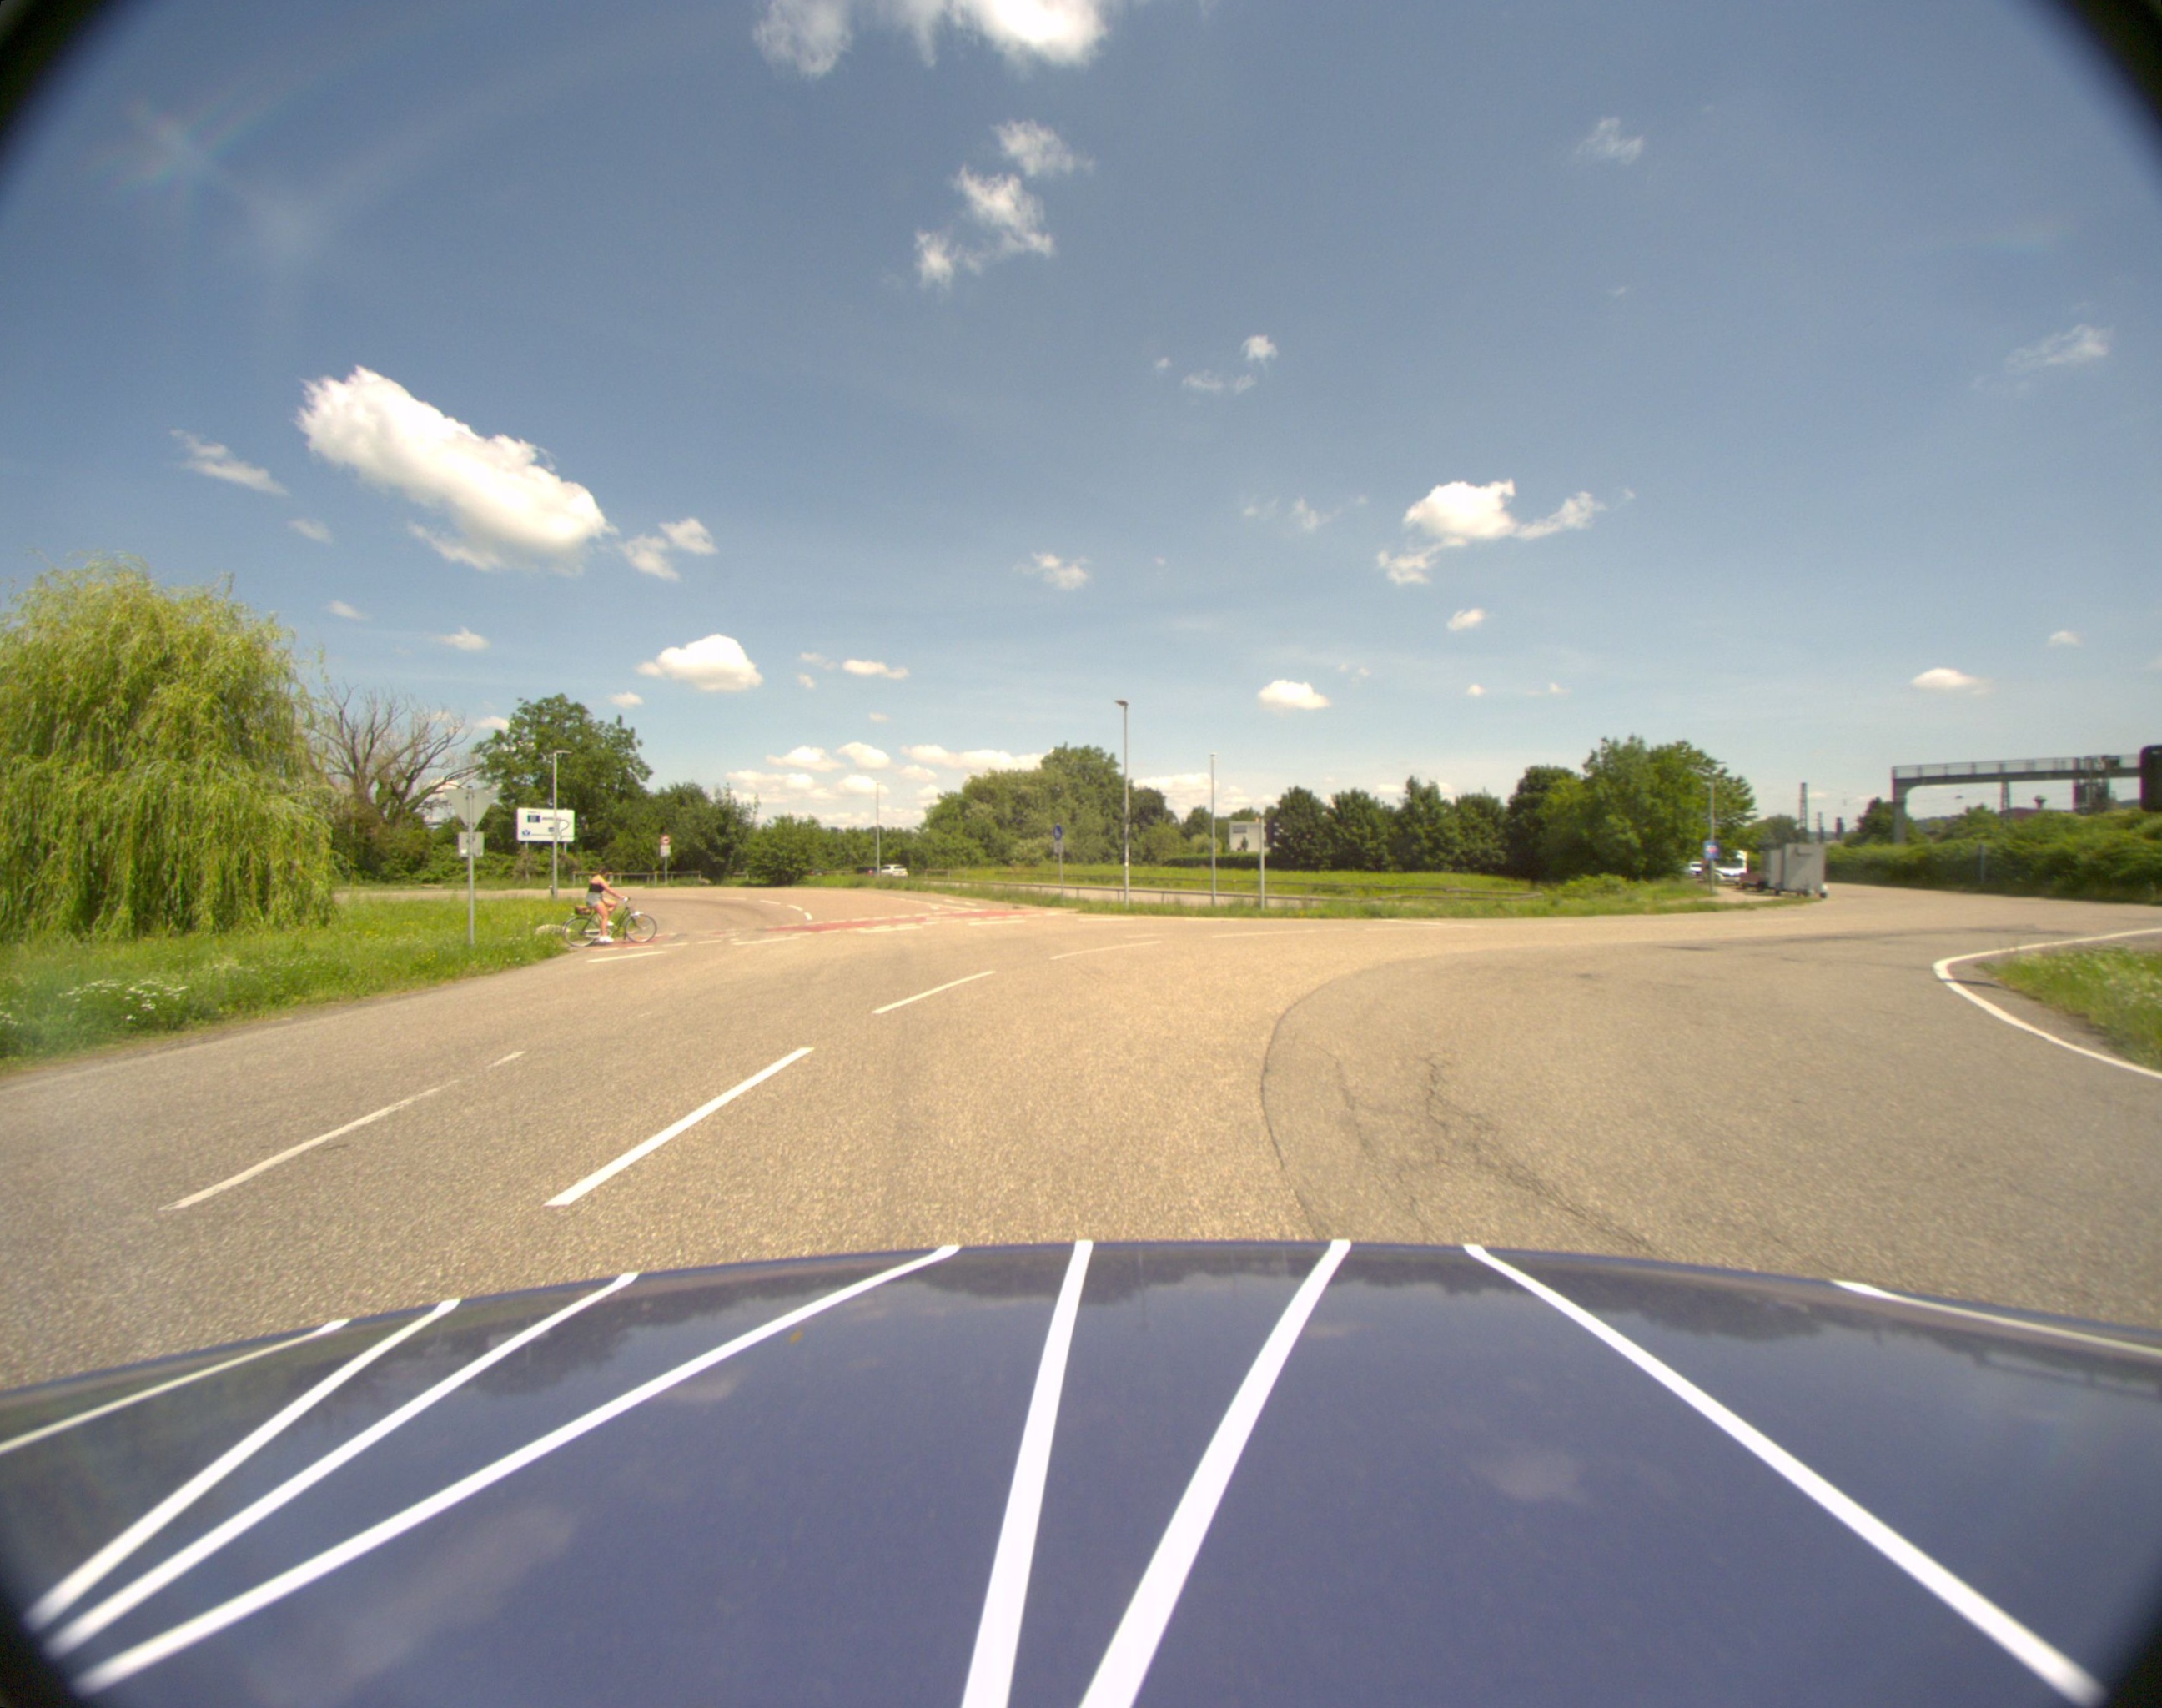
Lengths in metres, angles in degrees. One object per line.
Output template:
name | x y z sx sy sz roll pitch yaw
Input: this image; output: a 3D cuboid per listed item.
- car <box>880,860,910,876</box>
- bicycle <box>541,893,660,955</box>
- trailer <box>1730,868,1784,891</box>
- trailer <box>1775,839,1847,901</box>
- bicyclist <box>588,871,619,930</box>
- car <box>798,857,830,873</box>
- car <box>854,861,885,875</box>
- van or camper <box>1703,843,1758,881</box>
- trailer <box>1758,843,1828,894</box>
car | -18.216 1.376 74.364 1.421 1.495 3.110 -1 -1 -44
bicycle | -10.461 1.498 16.588 2.150 1.158 0.659 -1 0 -36
trailer | 41.006 1.504 46.189 2.005 1.117 4.498 3 2 37
trailer | 33.681 0.687 35.202 1.933 2.629 5.195 3 2 40
bicyclist | -10.428 0.993 16.589 0.512 1.248 0.468 -1 1 -36
car | -24.046 0.965 68.350 3.109 1.330 1.421 -2 -1 43
car | -20.043 1.332 71.933 1.421 1.330 3.110 -1 -1 -44
van or camper | 52.153 0.595 61.185 2.439 2.810 7.639 2 1 34
trailer | 37.782 0.749 40.445 1.919 2.494 4.751 3 2 34
